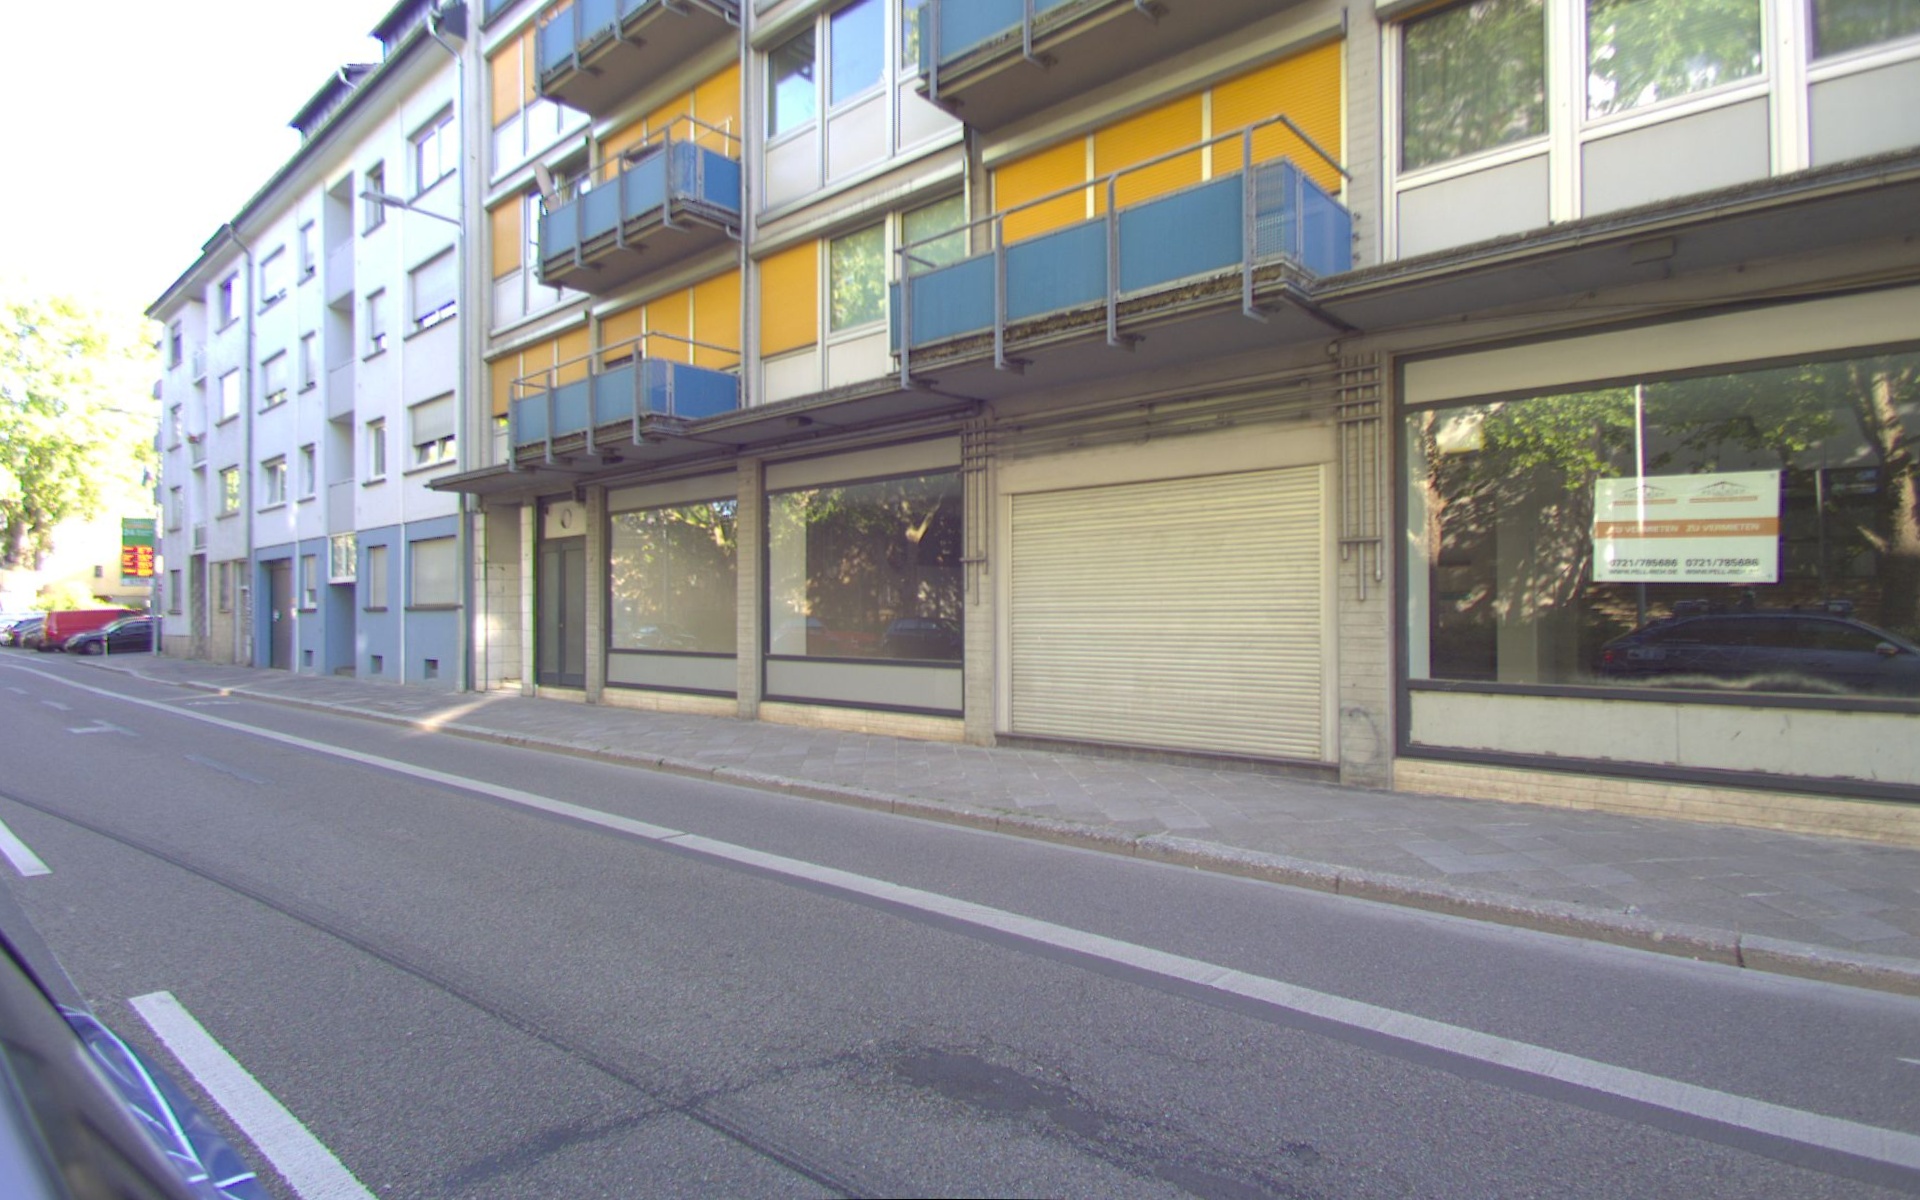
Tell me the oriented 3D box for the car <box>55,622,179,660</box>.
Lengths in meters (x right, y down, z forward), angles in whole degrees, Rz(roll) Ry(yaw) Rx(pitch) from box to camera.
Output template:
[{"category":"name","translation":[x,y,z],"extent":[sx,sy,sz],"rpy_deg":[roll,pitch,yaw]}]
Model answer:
[{"category":"car","translation":[-36.628,1.762,44.016],"extent":[1.761,1.468,3.944],"rpy_deg":[-1,0,42]}]

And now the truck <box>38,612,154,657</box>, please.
[{"category":"truck","translation":[-40.499,1.571,47.495],"extent":[1.761,1.951,3.944],"rpy_deg":[-1,0,42]}]

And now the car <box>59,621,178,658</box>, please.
[{"category":"car","translation":[-38.109,1.758,45.903],"extent":[1.761,1.514,3.944],"rpy_deg":[-1,0,42]}]

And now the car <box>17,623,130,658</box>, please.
[{"category":"car","translation":[-42.910,1.903,49.042],"extent":[1.761,1.514,3.944],"rpy_deg":[-1,0,42]}]
